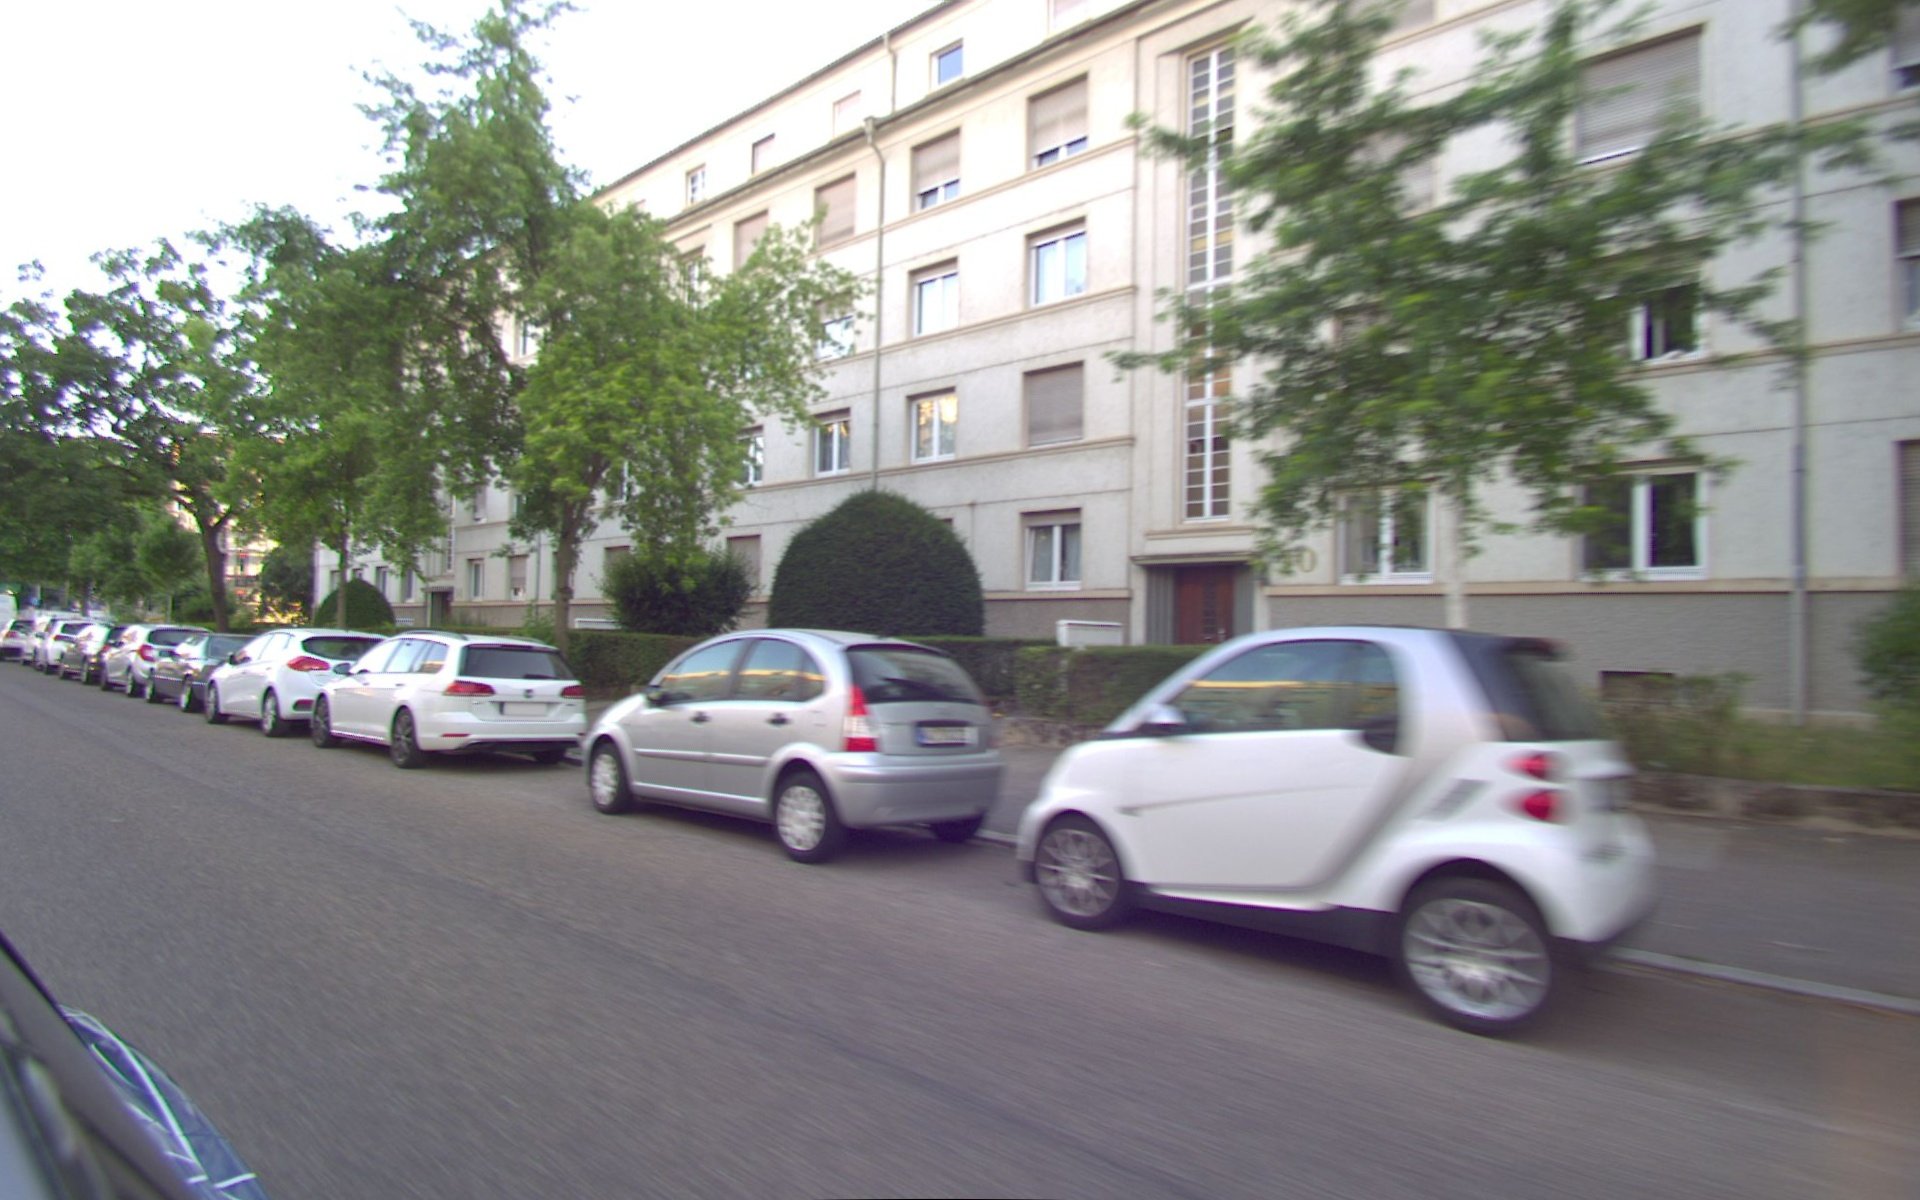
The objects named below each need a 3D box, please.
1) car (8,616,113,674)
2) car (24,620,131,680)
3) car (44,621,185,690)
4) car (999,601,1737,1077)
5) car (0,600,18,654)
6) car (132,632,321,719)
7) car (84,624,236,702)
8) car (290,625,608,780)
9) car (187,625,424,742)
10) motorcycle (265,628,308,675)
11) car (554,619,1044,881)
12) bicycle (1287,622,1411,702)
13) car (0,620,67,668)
[{"bbox_3d":[-28.108,1.397,31.586,4.104,1.644,1.734,-1,-6,40],"label":"car"},{"bbox_3d":[-24.810,1.388,28.413,3.944,1.491,1.733,-1,-6,43],"label":"car"},{"bbox_3d":[-20.769,1.332,24.809,4.674,1.491,1.735,-1,-6,40],"label":"car"},{"bbox_3d":[1.831,0.866,4.904,2.921,1.541,1.572,-1,-6,43],"label":"car"},{"bbox_3d":[-46.671,1.218,47.978,6.100,2.480,2.156,-1,-6,41],"label":"car"},{"bbox_3d":[-13.361,1.330,18.327,4.577,1.342,1.657,-1,-6,41],"label":"car"},{"bbox_3d":[-17.046,1.311,21.515,3.701,1.471,1.658,-1,-6,39],"label":"car"},{"bbox_3d":[-6.110,1.098,11.853,4.481,1.471,1.674,-1,-6,41],"label":"car"},{"bbox_3d":[-9.733,1.173,14.948,4.141,1.471,1.675,-1,-6,40],"label":"car"},{"bbox_3d":[-20.046,1.521,30.127,1.828,1.335,0.580,-1,-3,42],"label":"motorcycle"},{"bbox_3d":[-1.378,0.966,7.747,3.797,1.516,1.573,-1,-6,41],"label":"car"},{"bbox_3d":[6.349,0.987,16.584,1.817,1.240,0.550,-1,-3,44],"label":"bicycle"},{"bbox_3d":[-32.394,1.510,34.977,4.223,1.483,1.733,-1,-6,43],"label":"car"}]
